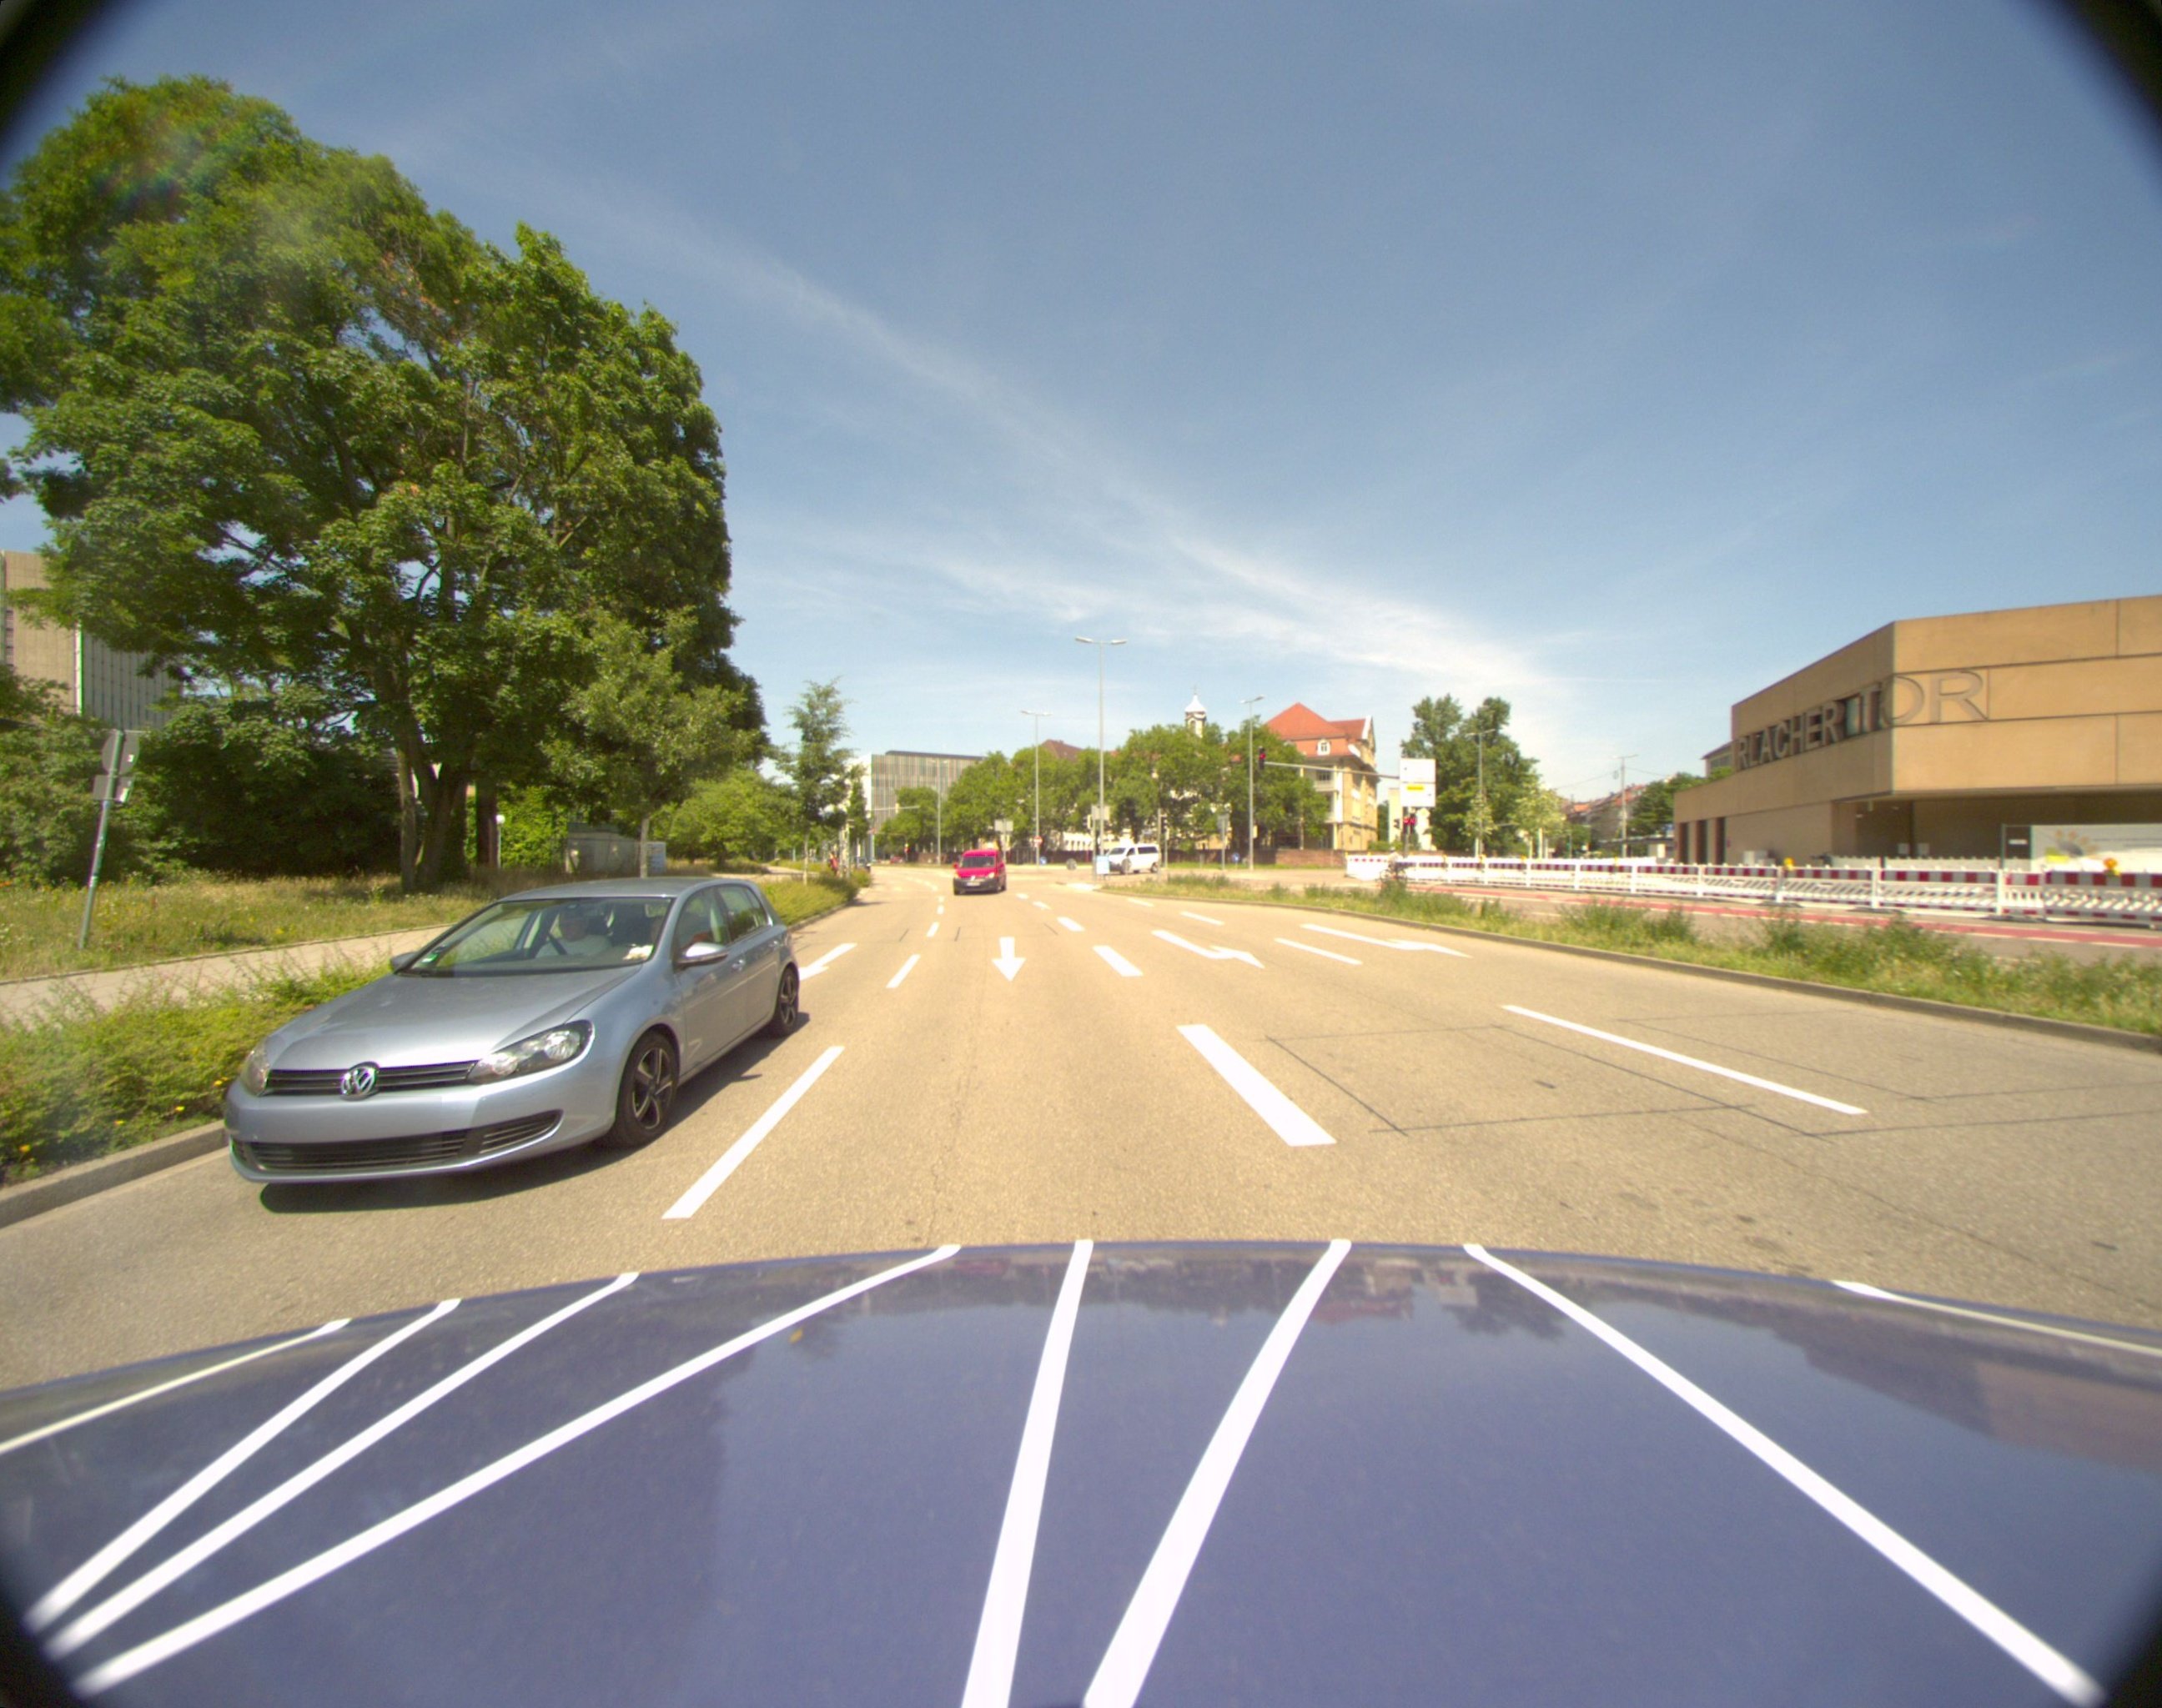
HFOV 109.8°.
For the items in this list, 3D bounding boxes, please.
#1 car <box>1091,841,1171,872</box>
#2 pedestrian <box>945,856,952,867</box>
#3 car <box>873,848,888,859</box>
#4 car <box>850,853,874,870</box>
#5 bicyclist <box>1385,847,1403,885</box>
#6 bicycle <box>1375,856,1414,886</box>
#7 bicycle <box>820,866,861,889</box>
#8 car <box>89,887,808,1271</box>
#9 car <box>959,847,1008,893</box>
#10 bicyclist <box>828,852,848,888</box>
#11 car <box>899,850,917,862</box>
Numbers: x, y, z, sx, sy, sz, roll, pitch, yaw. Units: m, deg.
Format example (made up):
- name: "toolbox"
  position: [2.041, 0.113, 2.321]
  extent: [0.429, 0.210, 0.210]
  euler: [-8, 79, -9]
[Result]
- name: "car"
  position: [3.434, 0.191, 51.552]
  extent: [5.407, 1.973, 1.995]
  euler: [0, -2, -37]
- name: "pedestrian"
  position: [-23.231, 1.292, 133.179]
  extent: [0.790, 2.001, 0.962]
  euler: [0, -1, -28]
- name: "car"
  position: [-36.015, -0.089, 136.471]
  extent: [1.784, 1.673, 3.993]
  euler: [0, -2, -26]
- name: "car"
  position: [-21.281, 0.738, 73.649]
  extent: [1.711, 1.576, 4.548]
  euler: [0, -2, -23]
- name: "bicyclist"
  position: [13.025, 0.480, 31.621]
  extent: [0.531, 1.570, 0.498]
  euler: [-1, 1, -12]
- name: "bicycle"
  position: [13.032, 0.685, 31.607]
  extent: [0.524, 1.174, 1.896]
  euler: [-1, 1, -12]
- name: "bicycle"
  position: [-11.372, 1.110, 35.887]
  extent: [1.992, 1.039, 0.560]
  euler: [0, -1, 25]
- name: "car"
  position: [-3.380, 1.035, 5.242]
  extent: [1.833, 1.406, 3.992]
  euler: [0, 0, -5]
- name: "car"
  position: [-3.991, 0.690, 31.656]
  extent: [1.833, 1.755, 4.278]
  euler: [-1, -2, -5]
- name: "bicyclist"
  position: [-11.497, 0.756, 35.941]
  extent: [0.701, 1.705, 0.552]
  euler: [0, -1, 25]
- name: "car"
  position: [-29.721, 0.379, 130.293]
  extent: [2.003, 2.001, 4.206]
  euler: [0, -2, -28]
